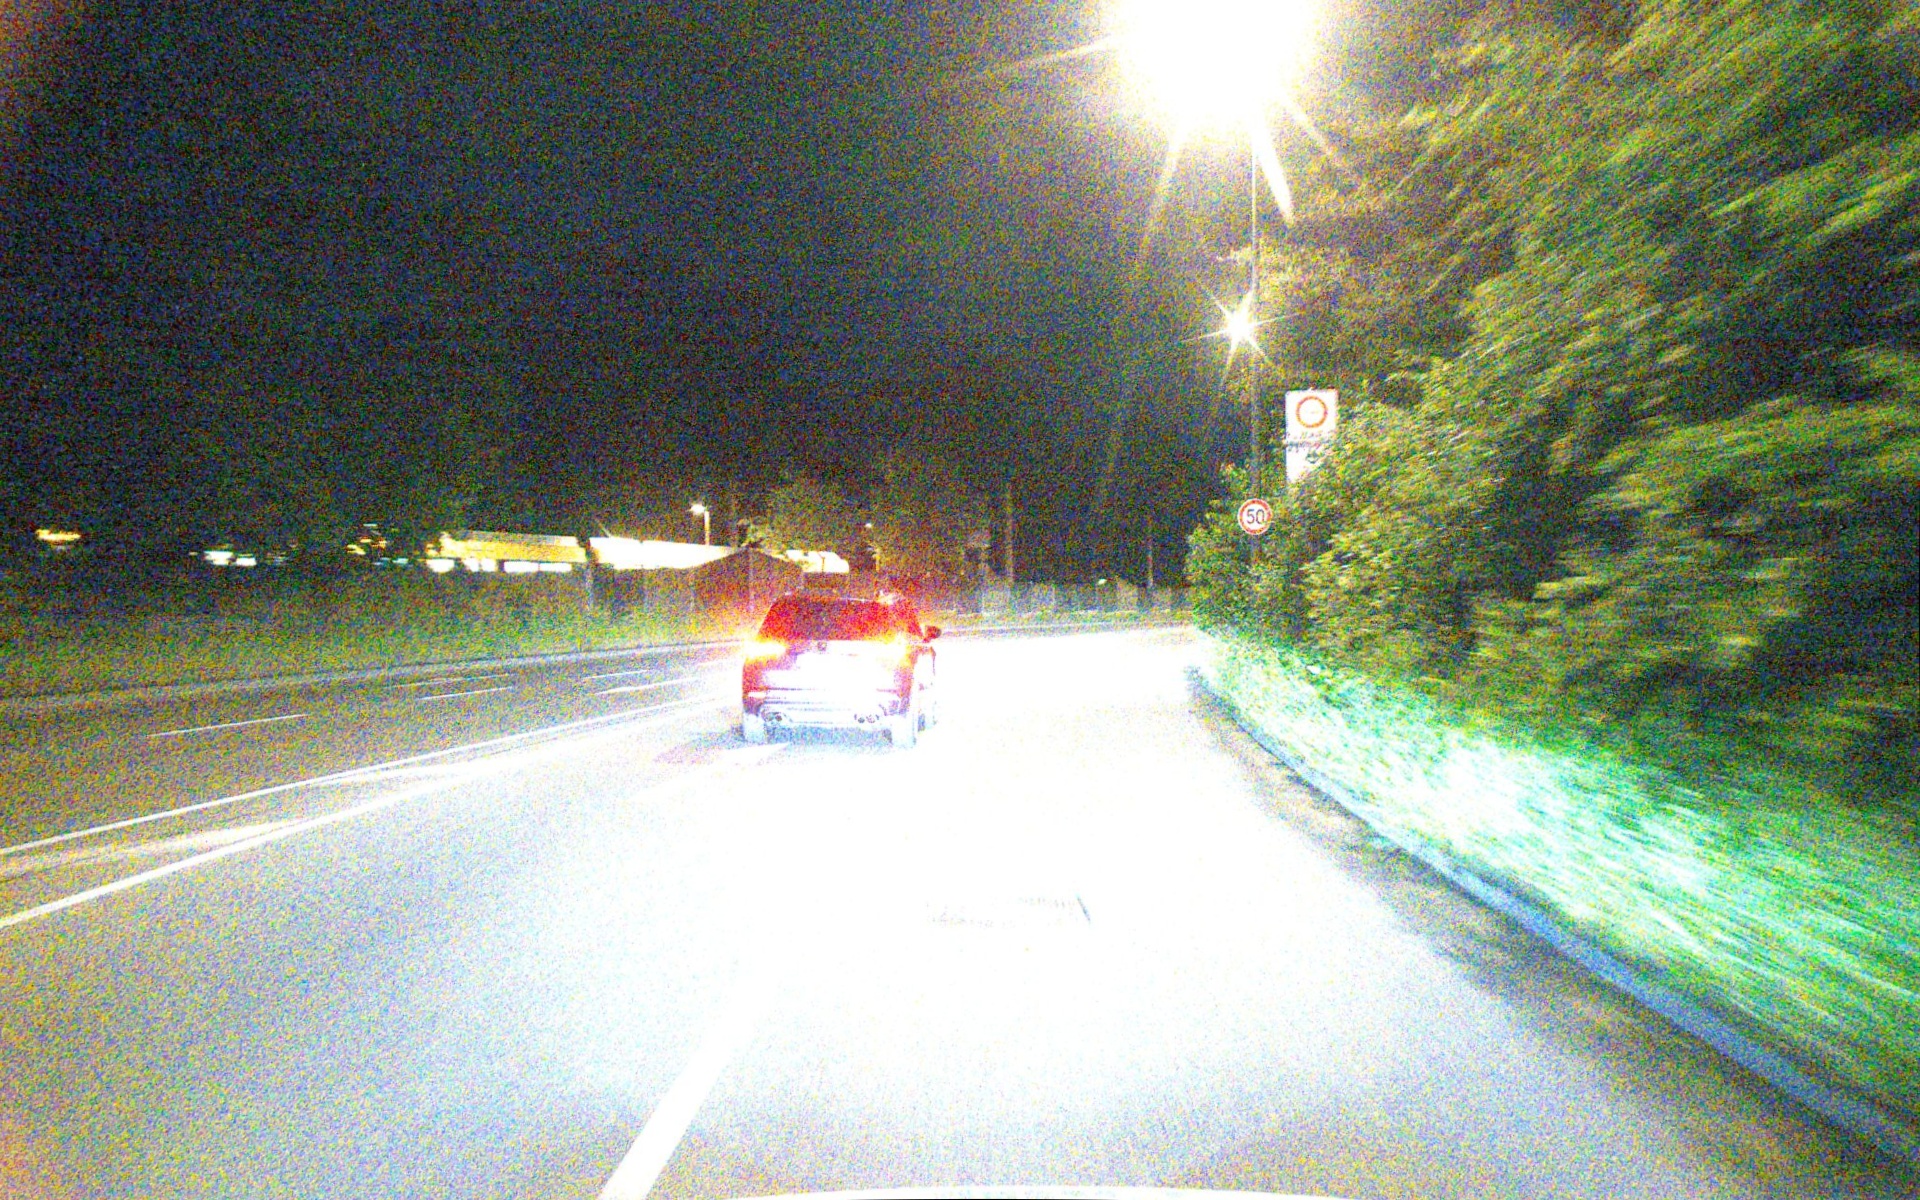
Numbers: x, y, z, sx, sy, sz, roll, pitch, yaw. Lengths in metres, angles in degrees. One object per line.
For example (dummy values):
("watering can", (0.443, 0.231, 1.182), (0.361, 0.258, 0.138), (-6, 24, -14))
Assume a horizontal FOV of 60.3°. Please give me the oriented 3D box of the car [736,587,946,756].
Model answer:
("car", (-1.177, 0.690, 18.050), (1.777, 1.601, 3.945), (1, 0, 3))
